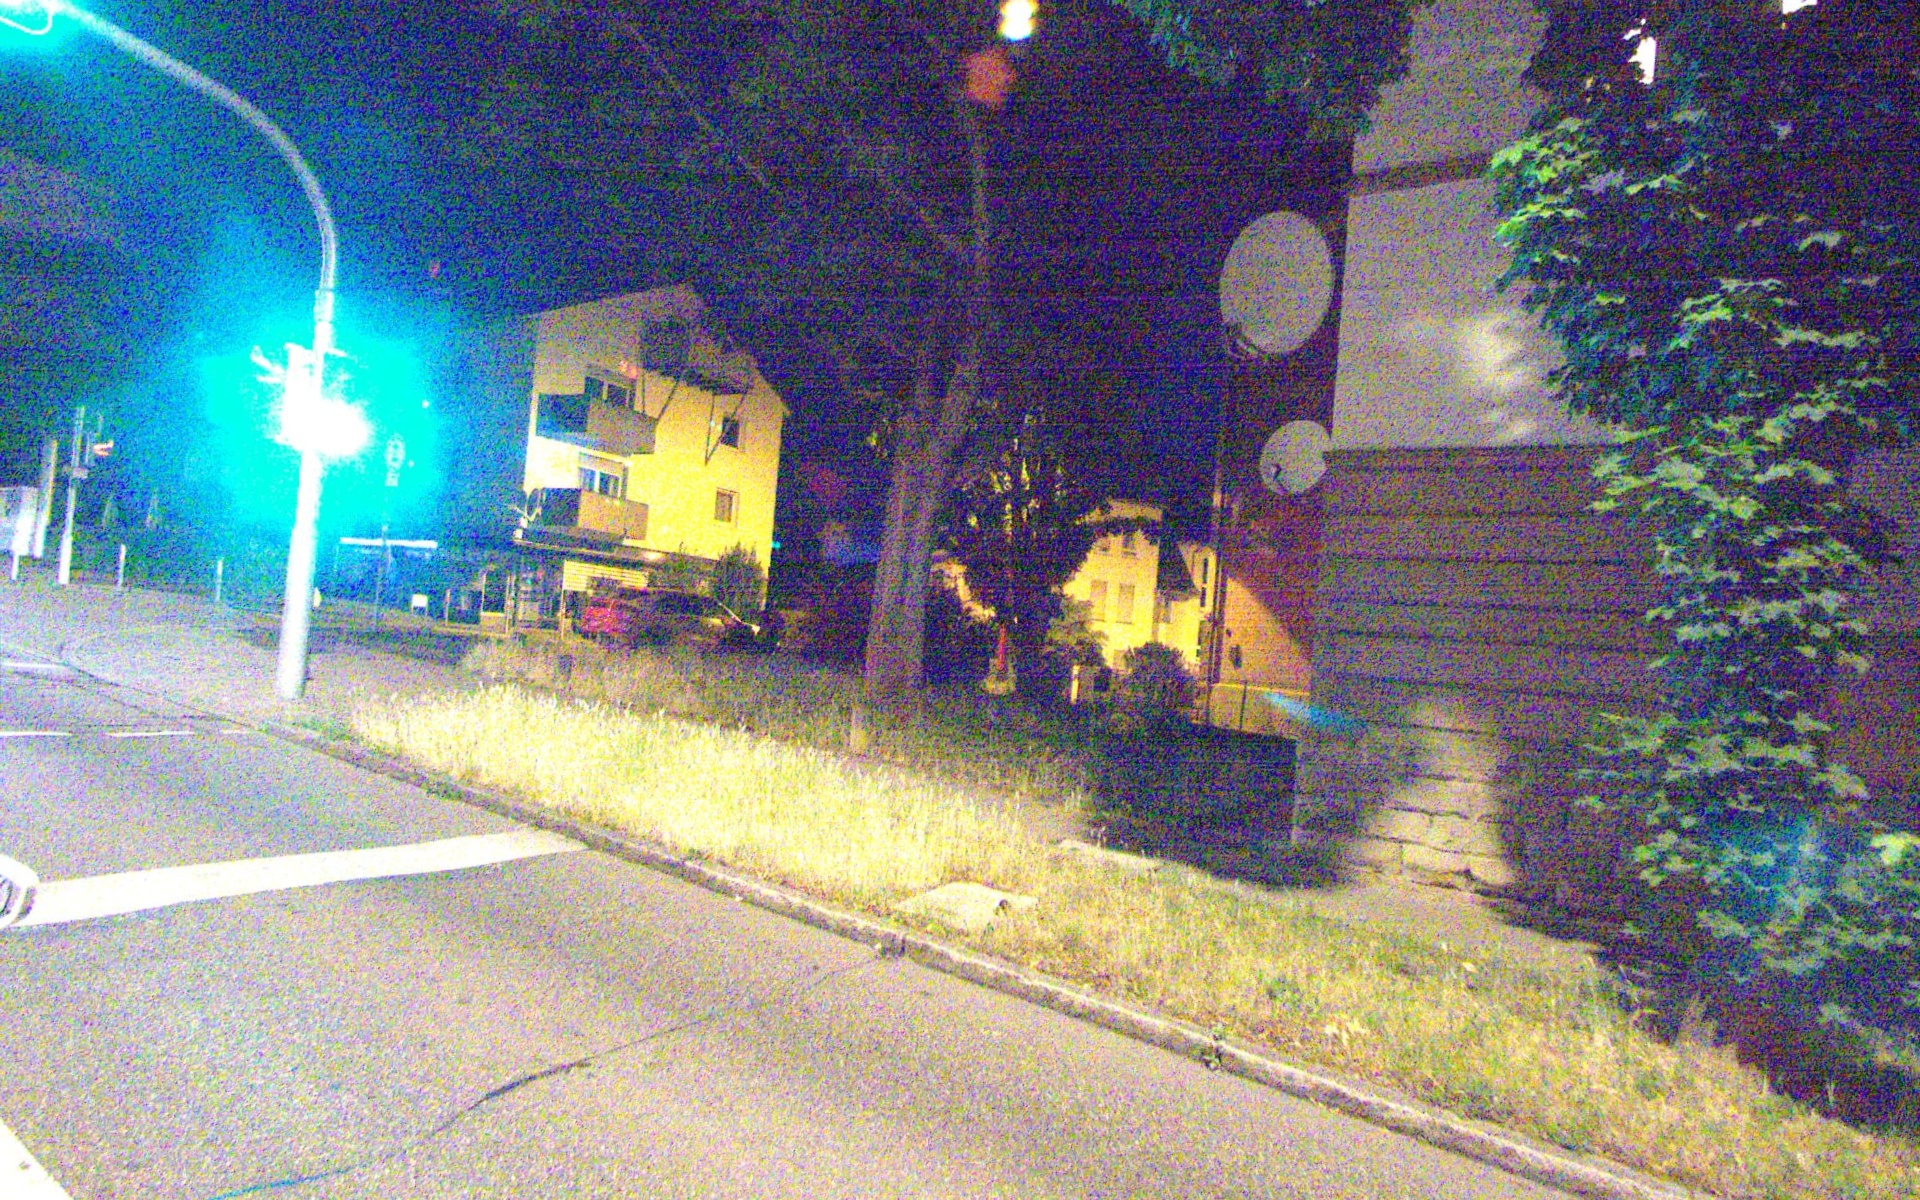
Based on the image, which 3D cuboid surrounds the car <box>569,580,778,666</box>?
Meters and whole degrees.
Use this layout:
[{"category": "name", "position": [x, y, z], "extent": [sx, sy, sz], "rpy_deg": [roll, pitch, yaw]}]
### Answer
[{"category": "car", "position": [-6.511, 0.583, 23.303], "extent": [1.778, 1.577, 4.366], "rpy_deg": [3, -3, 38]}]
